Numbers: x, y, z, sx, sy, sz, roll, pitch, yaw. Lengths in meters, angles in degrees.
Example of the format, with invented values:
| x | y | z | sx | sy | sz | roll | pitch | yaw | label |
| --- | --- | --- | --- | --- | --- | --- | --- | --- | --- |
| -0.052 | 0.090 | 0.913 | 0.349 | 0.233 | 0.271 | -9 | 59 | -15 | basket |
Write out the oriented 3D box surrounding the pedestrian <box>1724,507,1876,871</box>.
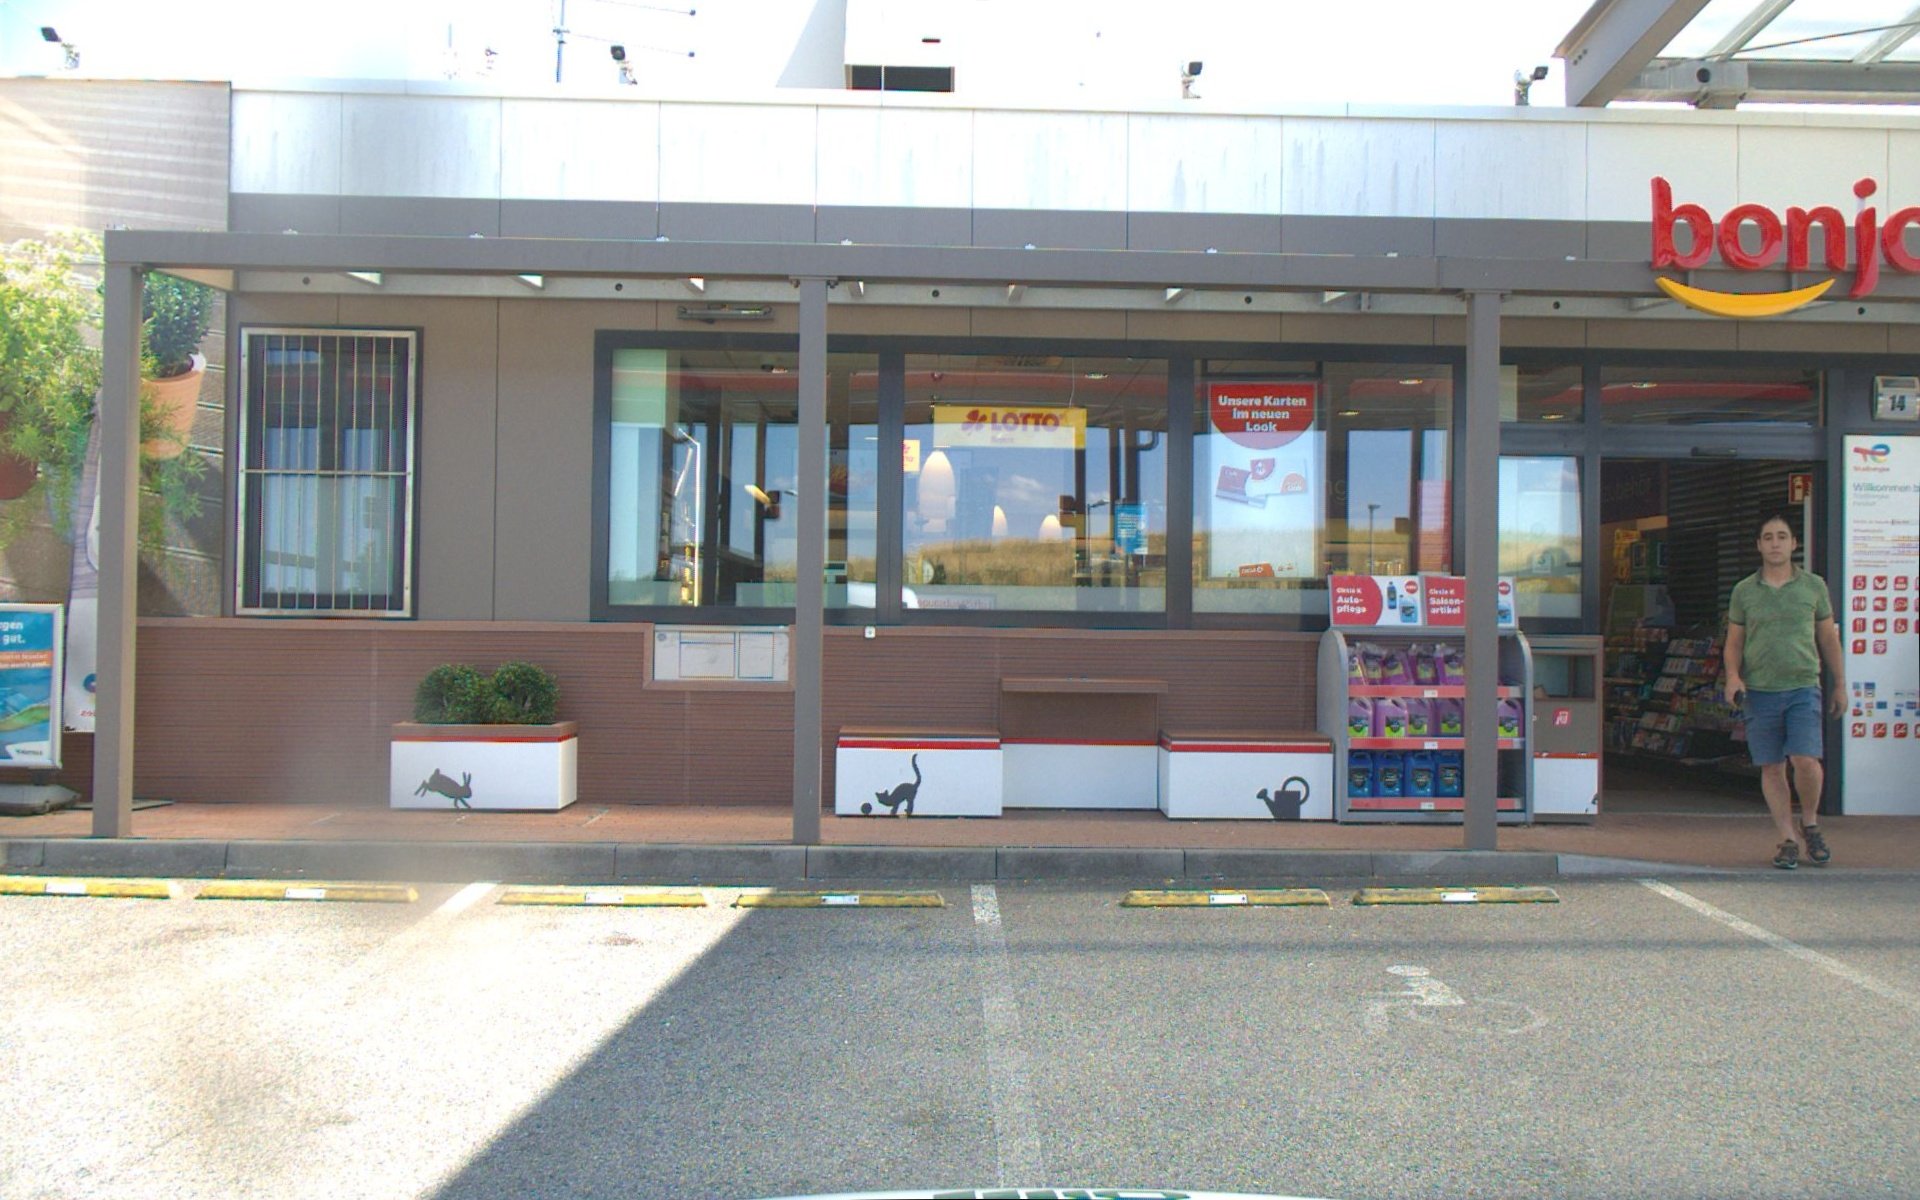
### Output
| x | y | z | sx | sy | sz | roll | pitch | yaw | label |
| --- | --- | --- | --- | --- | --- | --- | --- | --- | --- |
| 4.472 | 0.447 | 8.851 | 0.687 | 1.829 | 0.862 | 0 | 0 | 25 | pedestrian |
